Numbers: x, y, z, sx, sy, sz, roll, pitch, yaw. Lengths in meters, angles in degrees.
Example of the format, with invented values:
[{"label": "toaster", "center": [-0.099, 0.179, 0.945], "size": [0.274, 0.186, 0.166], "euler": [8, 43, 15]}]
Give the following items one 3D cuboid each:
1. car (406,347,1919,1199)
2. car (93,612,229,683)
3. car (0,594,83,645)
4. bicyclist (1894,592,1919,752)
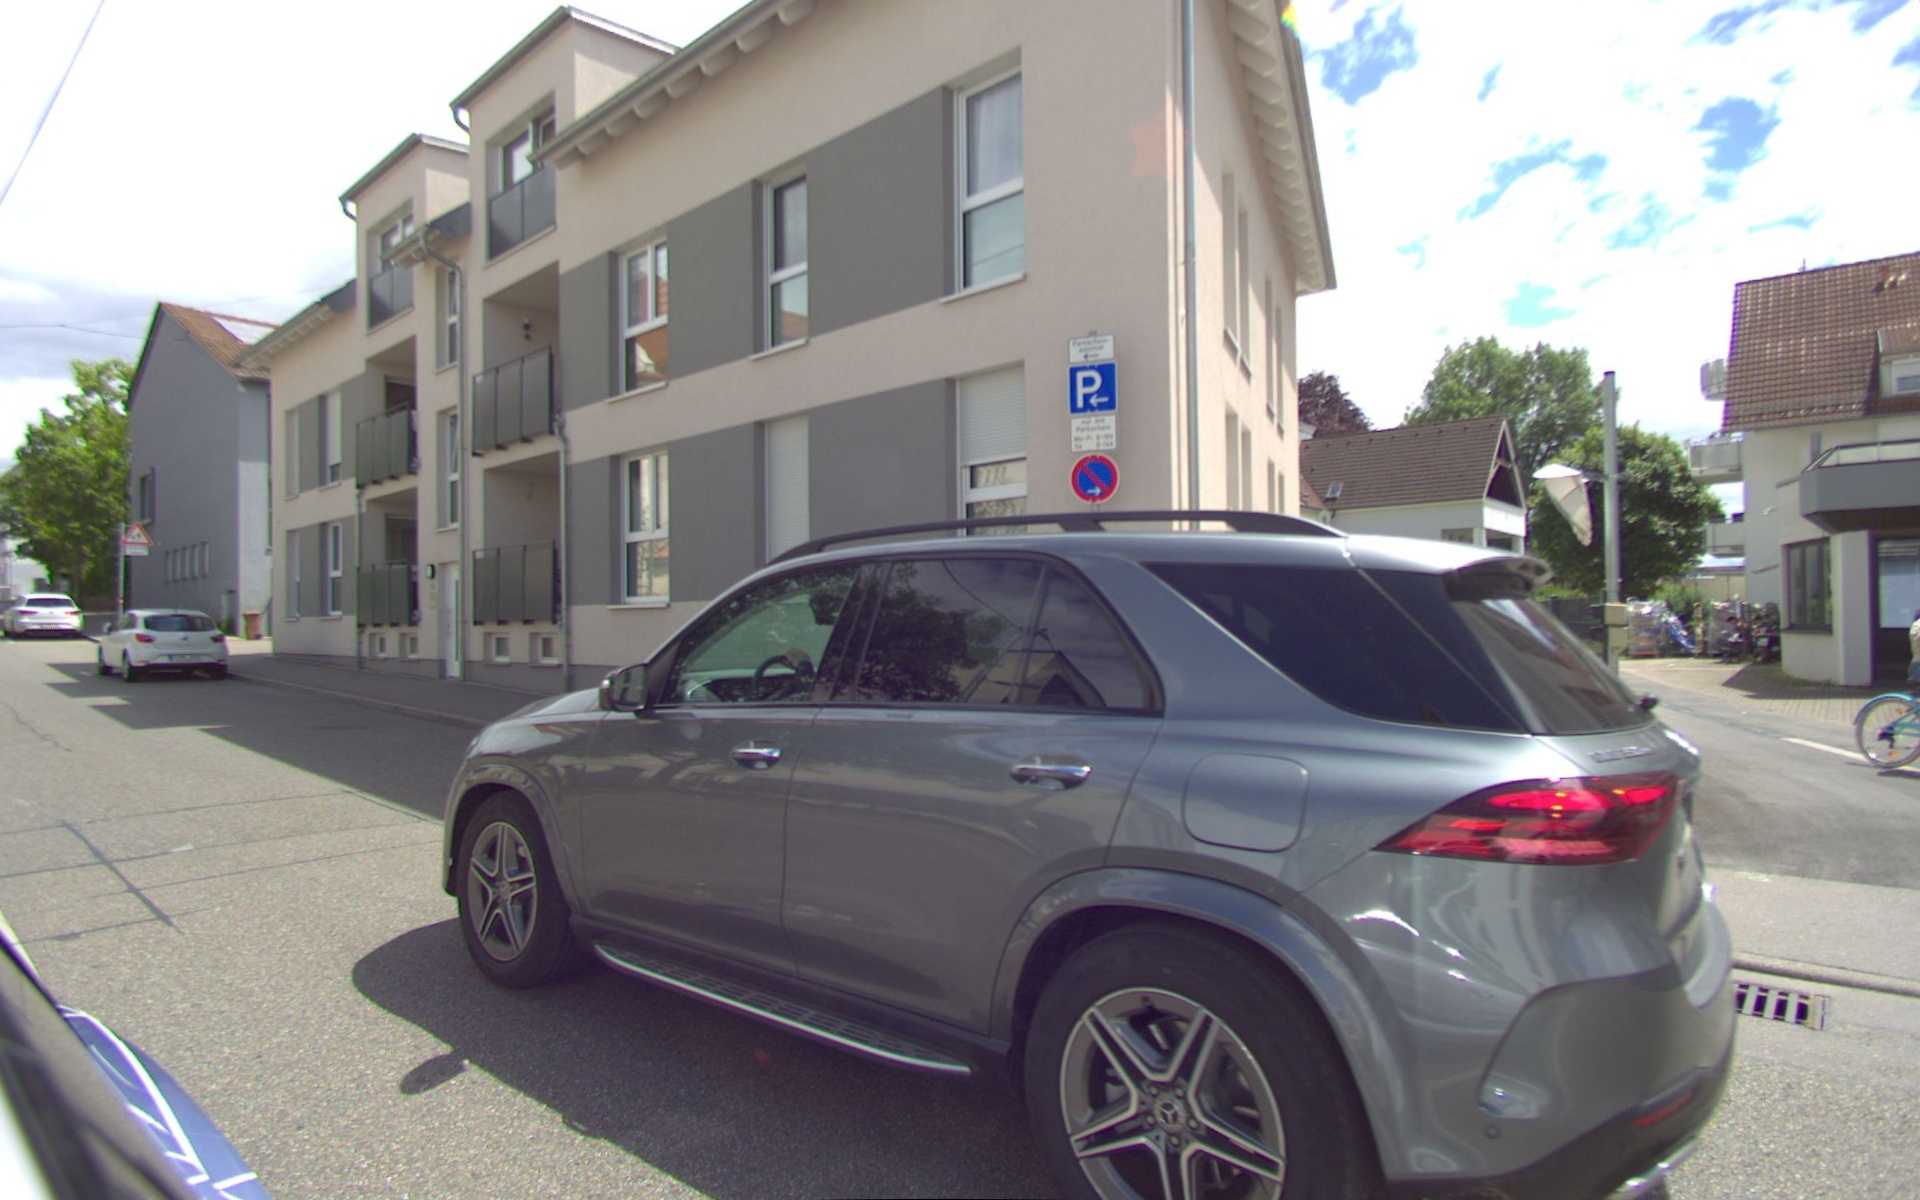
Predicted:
[{"label": "car", "center": [0.097, 0.577, 3.595], "size": [4.589, 1.732, 1.923], "euler": [-2, -2, 37]}, {"label": "car", "center": [-16.663, 0.938, 21.054], "size": [3.472, 1.340, 1.644], "euler": [-1, -1, 42]}, {"label": "car", "center": [-30.084, 0.618, 33.011], "size": [4.065, 1.499, 1.714], "euler": [1, 0, 42]}, {"label": "bicyclist", "center": [7.824, 0.558, 7.954], "size": [0.631, 1.251, 0.428], "euler": [-1, 0, -16]}]
